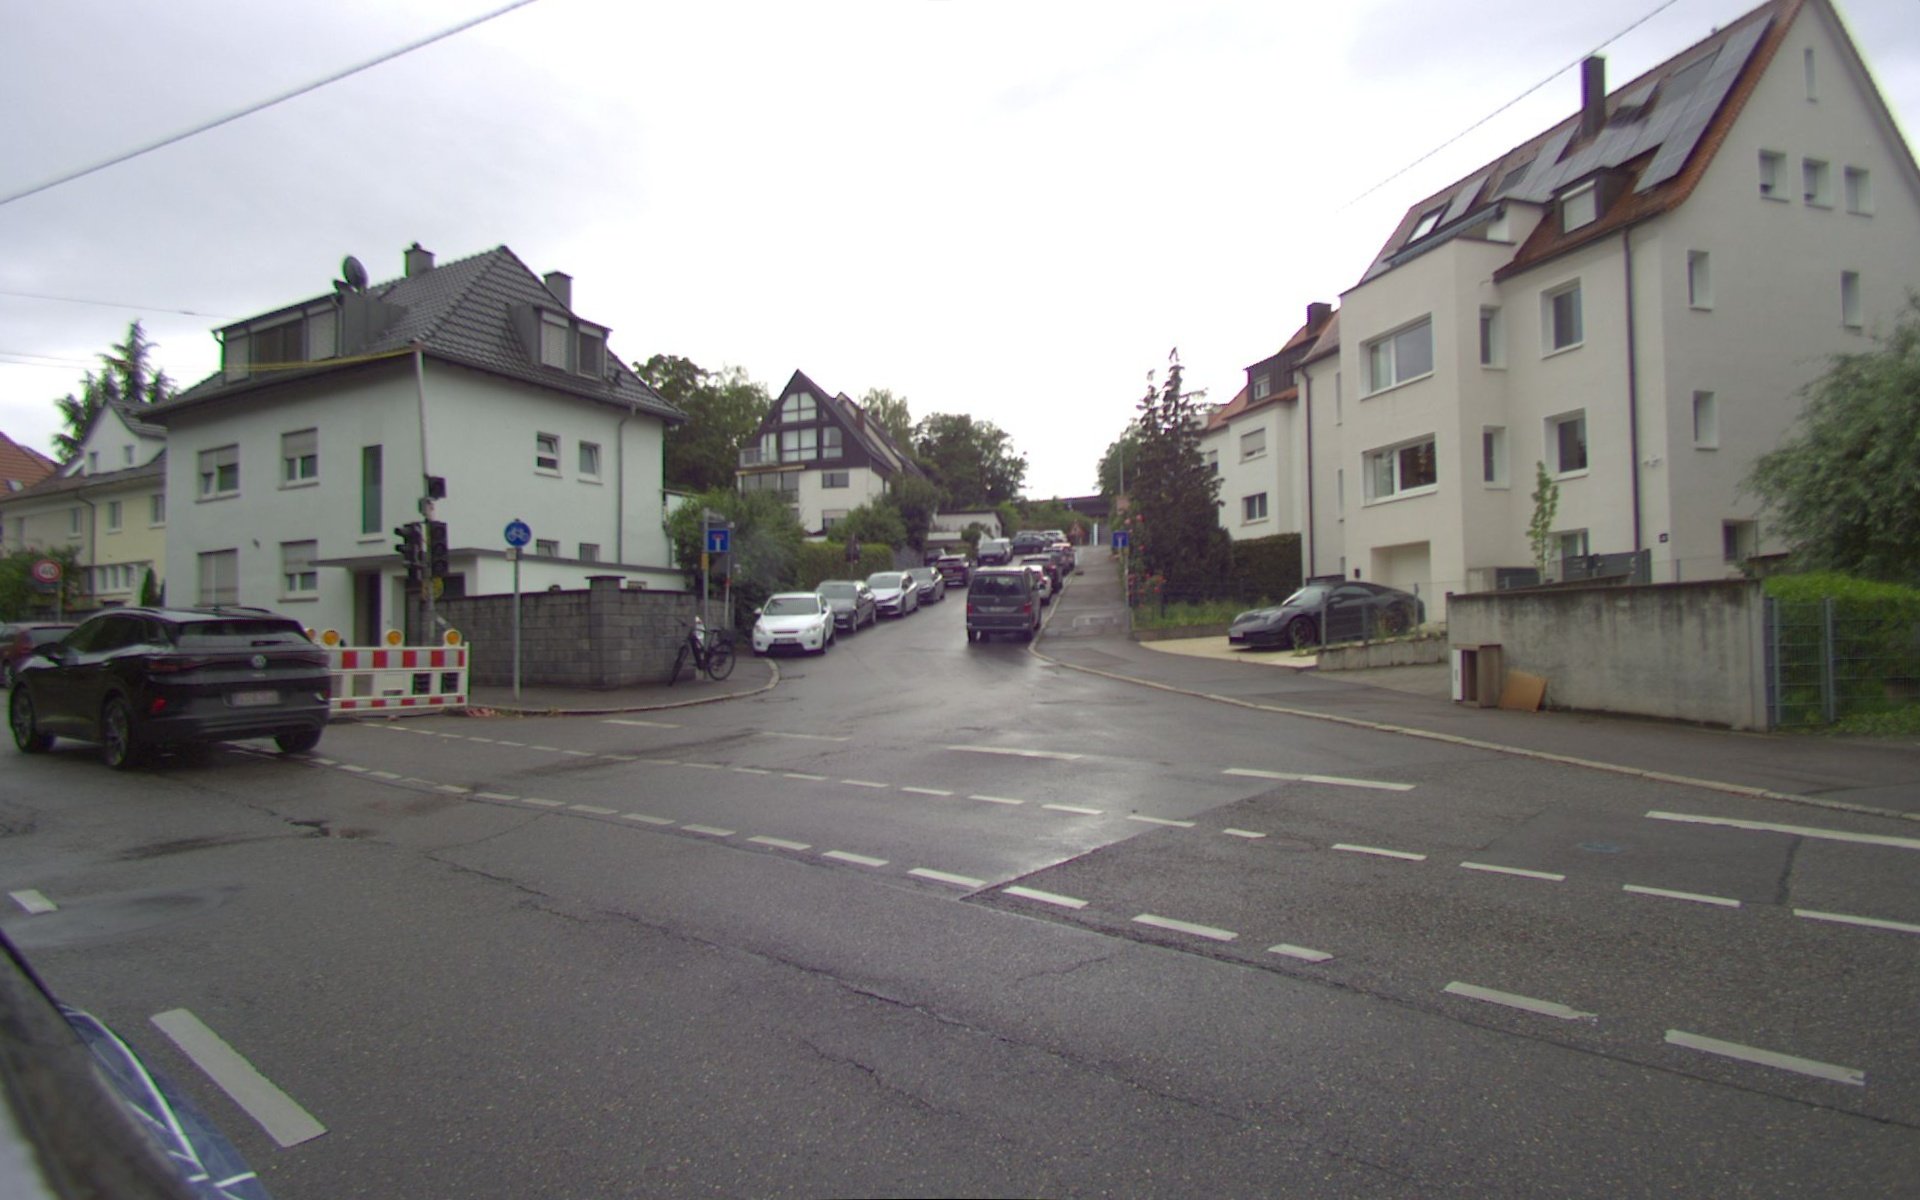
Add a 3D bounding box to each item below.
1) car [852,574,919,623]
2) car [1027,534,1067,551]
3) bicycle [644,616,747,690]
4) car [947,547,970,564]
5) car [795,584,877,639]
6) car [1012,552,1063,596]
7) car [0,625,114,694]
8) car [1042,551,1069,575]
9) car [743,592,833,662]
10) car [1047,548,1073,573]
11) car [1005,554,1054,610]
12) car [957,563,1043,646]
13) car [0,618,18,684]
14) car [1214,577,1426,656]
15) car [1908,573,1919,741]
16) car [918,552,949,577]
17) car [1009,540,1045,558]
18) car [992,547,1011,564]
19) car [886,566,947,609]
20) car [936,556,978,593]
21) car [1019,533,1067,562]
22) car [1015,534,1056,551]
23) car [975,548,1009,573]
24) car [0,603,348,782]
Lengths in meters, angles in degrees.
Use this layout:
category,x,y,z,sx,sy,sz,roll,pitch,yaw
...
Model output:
category,x,y,z,sx,sy,sz,roll,pitch,yaw
car,-2.655,-0.084,37.080,1.738,1.481,3.940,-1,4,6
car,8.943,-5.890,103.908,3.782,1.529,1.664,-1,-1,15
bicycle,-4.783,0.929,18.451,0.508,1.249,1.984,1,0,32
car,-0.079,-3.254,74.015,1.559,1.220,3.650,-1,3,2
car,-3.825,0.319,31.812,1.702,1.397,3.900,-1,4,6
car,3.524,-1.191,45.370,1.823,1.699,4.039,-1,5,11
car,-21.466,1.331,23.376,3.833,1.443,1.768,-1,-1,30
car,5.506,-2.139,58.105,1.274,1.325,2.984,-1,3,10
car,-4.351,0.623,26.149,1.827,1.473,4.124,-1,3,-3
car,6.241,-2.443,62.842,1.488,1.373,3.465,-1,0,8
car,2.822,-0.753,40.317,1.686,1.843,4.194,-1,6,7
car,1.245,0.050,29.319,1.978,2.028,4.482,-1,4,9
car,-26.151,1.314,25.768,4.131,1.653,1.782,-1,-1,25
car,7.709,0.333,21.765,3.942,1.290,1.613,-5,1,-13
car,10.607,0.421,8.542,3.934,1.497,1.780,-2,-1,-12
car,-1.824,-2.414,69.787,1.793,1.566,4.009,-1,0,3
car,5.557,-4.192,83.648,2.914,1.328,1.282,-1,0,4
car,3.061,-3.321,74.705,1.292,1.206,2.980,-1,3,5
car,-1.804,-0.552,42.953,1.903,1.448,4.100,-1,5,7
car,-0.111,-1.361,52.459,1.623,1.637,3.992,-1,5,8
car,7.206,-4.555,87.637,3.954,2.028,1.995,-5,-1,8
car,7.395,-5.581,98.783,3.922,1.528,1.748,-1,0,6
car,2.199,-2.666,68.880,1.770,1.531,4.016,-1,0,9
car,-8.831,0.888,11.240,4.152,1.634,1.852,-1,0,33
